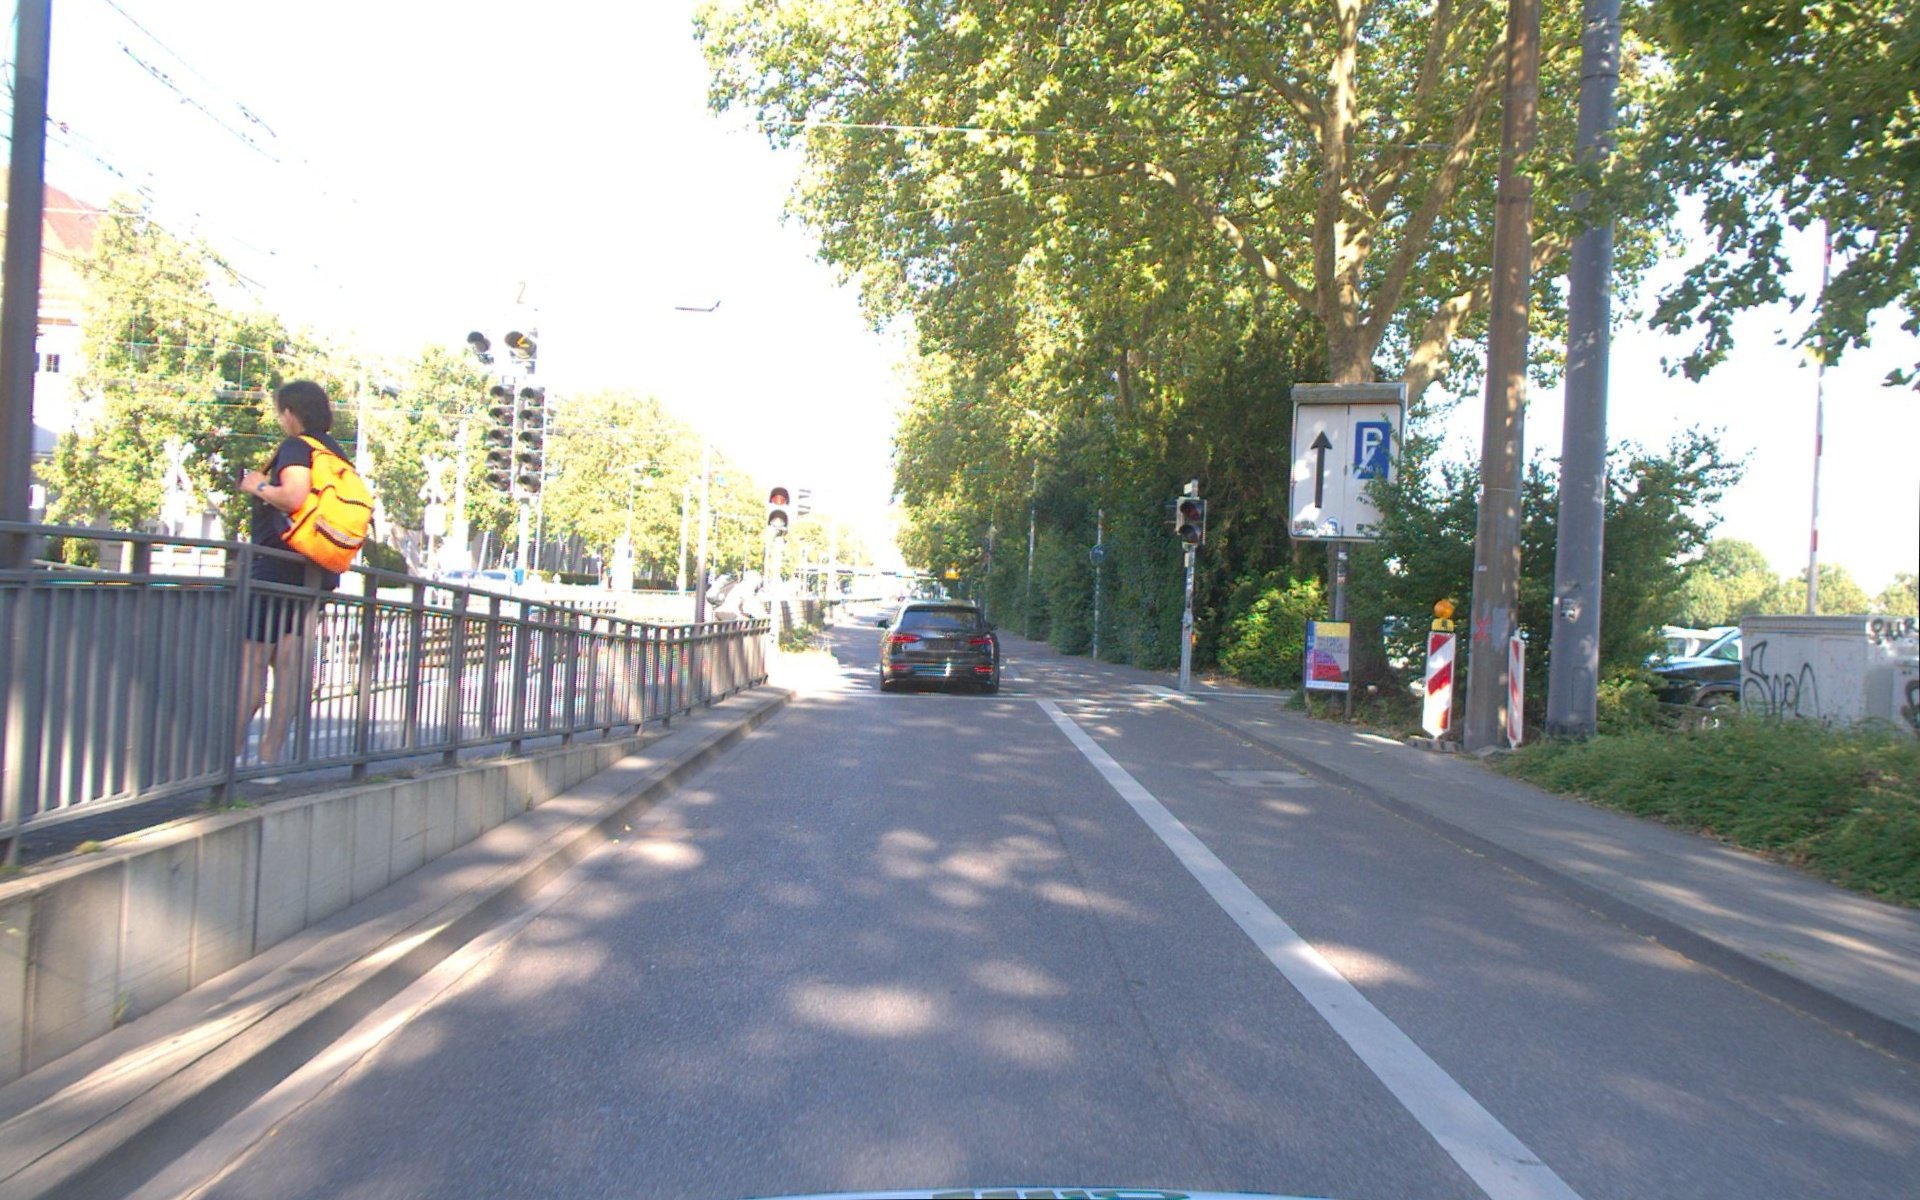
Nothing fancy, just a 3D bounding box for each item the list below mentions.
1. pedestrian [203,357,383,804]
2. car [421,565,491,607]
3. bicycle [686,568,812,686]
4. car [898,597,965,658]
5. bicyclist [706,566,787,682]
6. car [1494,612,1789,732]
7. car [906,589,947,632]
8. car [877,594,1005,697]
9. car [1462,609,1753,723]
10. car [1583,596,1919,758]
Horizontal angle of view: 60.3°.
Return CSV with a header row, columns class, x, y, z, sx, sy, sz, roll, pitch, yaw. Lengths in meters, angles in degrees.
class,x,y,z,sx,sy,sz,roll,pitch,yaw
pedestrian,-2.752,-0.076,6.867,0.403,1.746,0.665,3,0,-2
car,-20.767,-0.534,68.302,1.705,1.574,3.998,4,0,-2
bicycle,-3.266,0.436,25.765,0.581,1.746,1.960,2,0,43
car,-0.884,0.778,49.163,1.728,1.647,3.997,3,0,-4
bicyclist,-3.315,0.373,25.692,0.758,1.746,0.903,3,0,44
car,9.757,1.005,23.856,3.521,1.488,1.678,3,0,-1
car,-1.703,0.512,83.702,1.953,2.049,3.999,3,0,-1
car,-0.360,0.672,26.320,1.841,1.482,3.354,1,0,-4
car,10.134,1.006,26.088,3.807,1.531,1.888,3,0,0
car,10.198,0.946,20.909,3.906,1.795,1.833,3,0,-1
